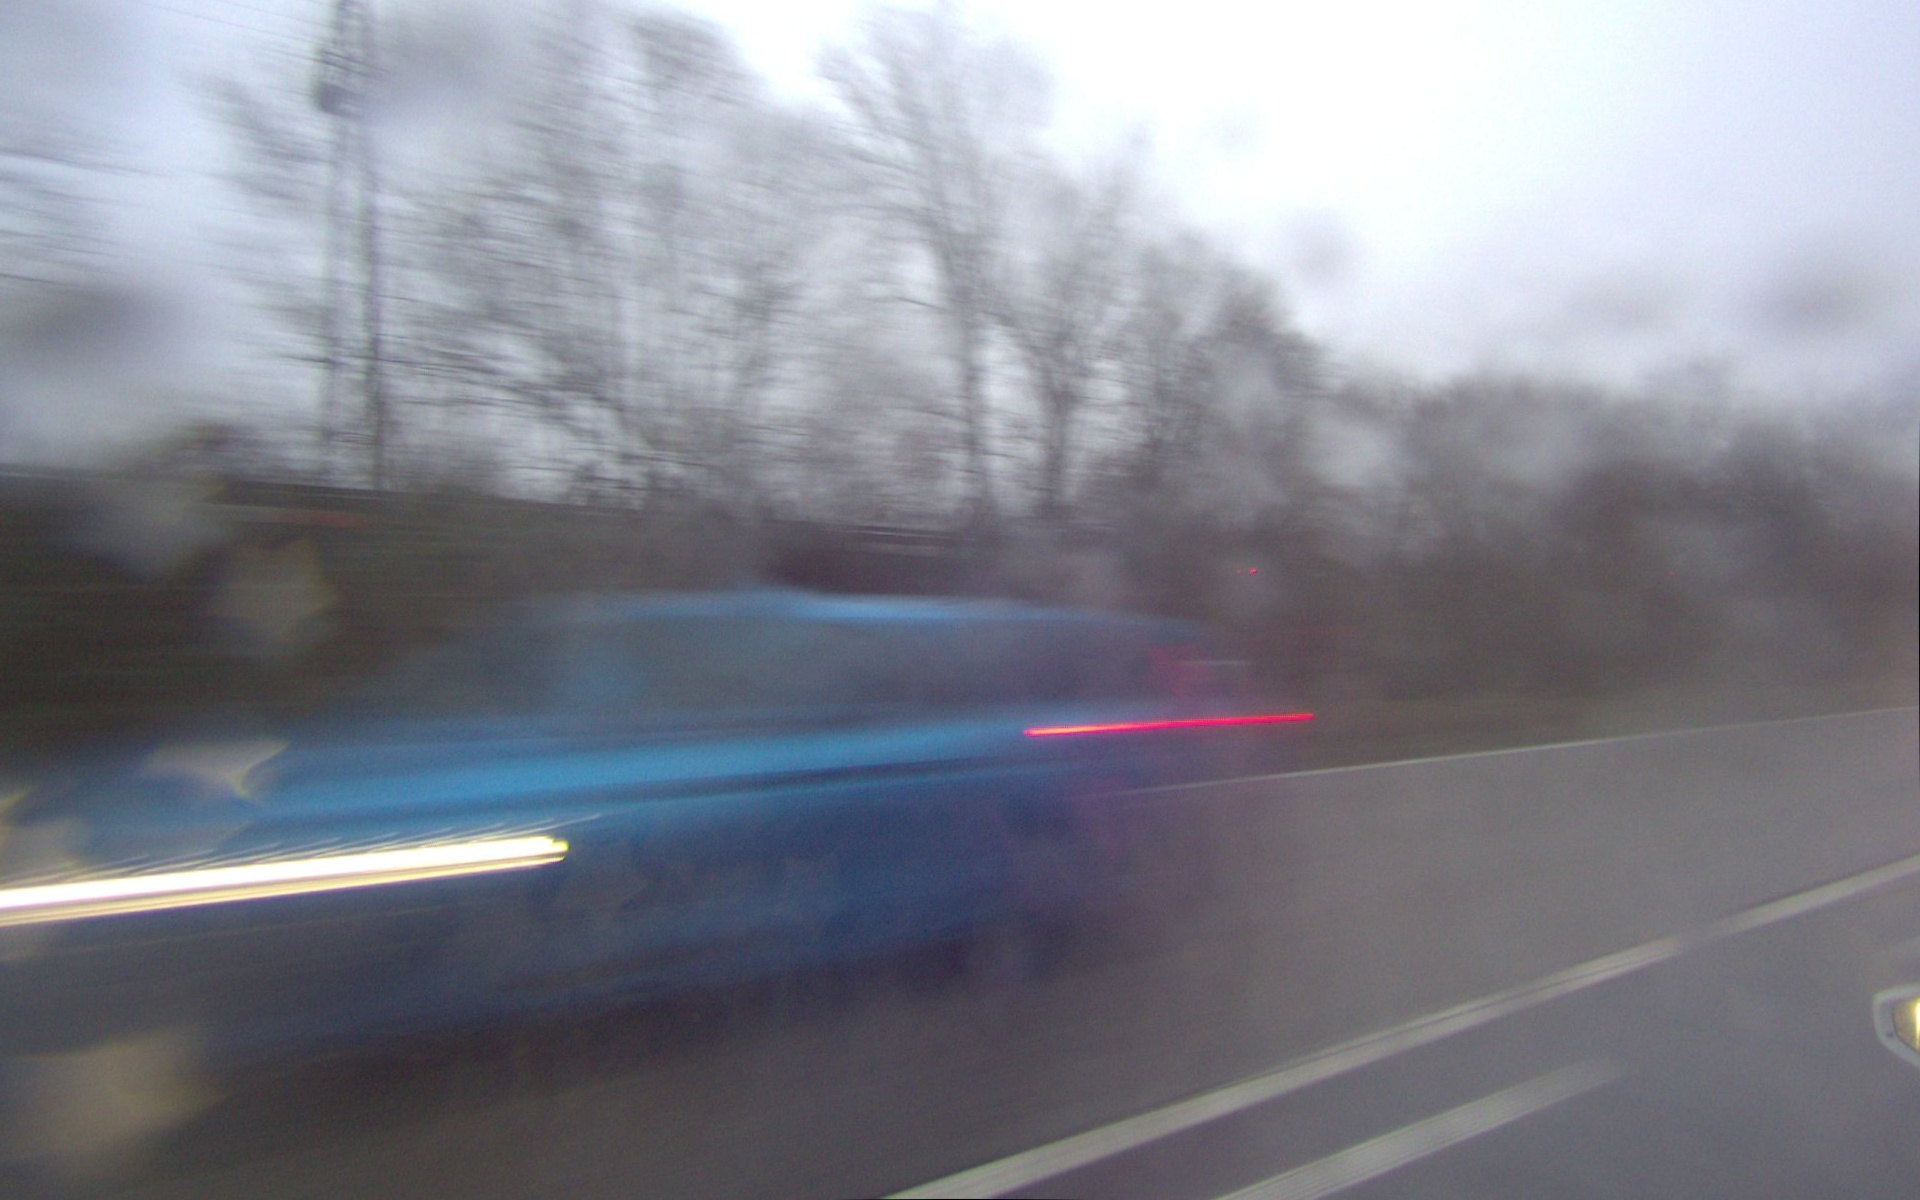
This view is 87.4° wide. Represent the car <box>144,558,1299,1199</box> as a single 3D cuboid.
[{"bbox_3d":[-0.650,0.670,4.187,4.058,1.517,1.754,1,1,-33],"label":"car"}]

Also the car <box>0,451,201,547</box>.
[{"bbox_3d":[-18.354,-2.063,20.939,3.904,1.656,1.773,2,1,-35],"label":"car"}]
